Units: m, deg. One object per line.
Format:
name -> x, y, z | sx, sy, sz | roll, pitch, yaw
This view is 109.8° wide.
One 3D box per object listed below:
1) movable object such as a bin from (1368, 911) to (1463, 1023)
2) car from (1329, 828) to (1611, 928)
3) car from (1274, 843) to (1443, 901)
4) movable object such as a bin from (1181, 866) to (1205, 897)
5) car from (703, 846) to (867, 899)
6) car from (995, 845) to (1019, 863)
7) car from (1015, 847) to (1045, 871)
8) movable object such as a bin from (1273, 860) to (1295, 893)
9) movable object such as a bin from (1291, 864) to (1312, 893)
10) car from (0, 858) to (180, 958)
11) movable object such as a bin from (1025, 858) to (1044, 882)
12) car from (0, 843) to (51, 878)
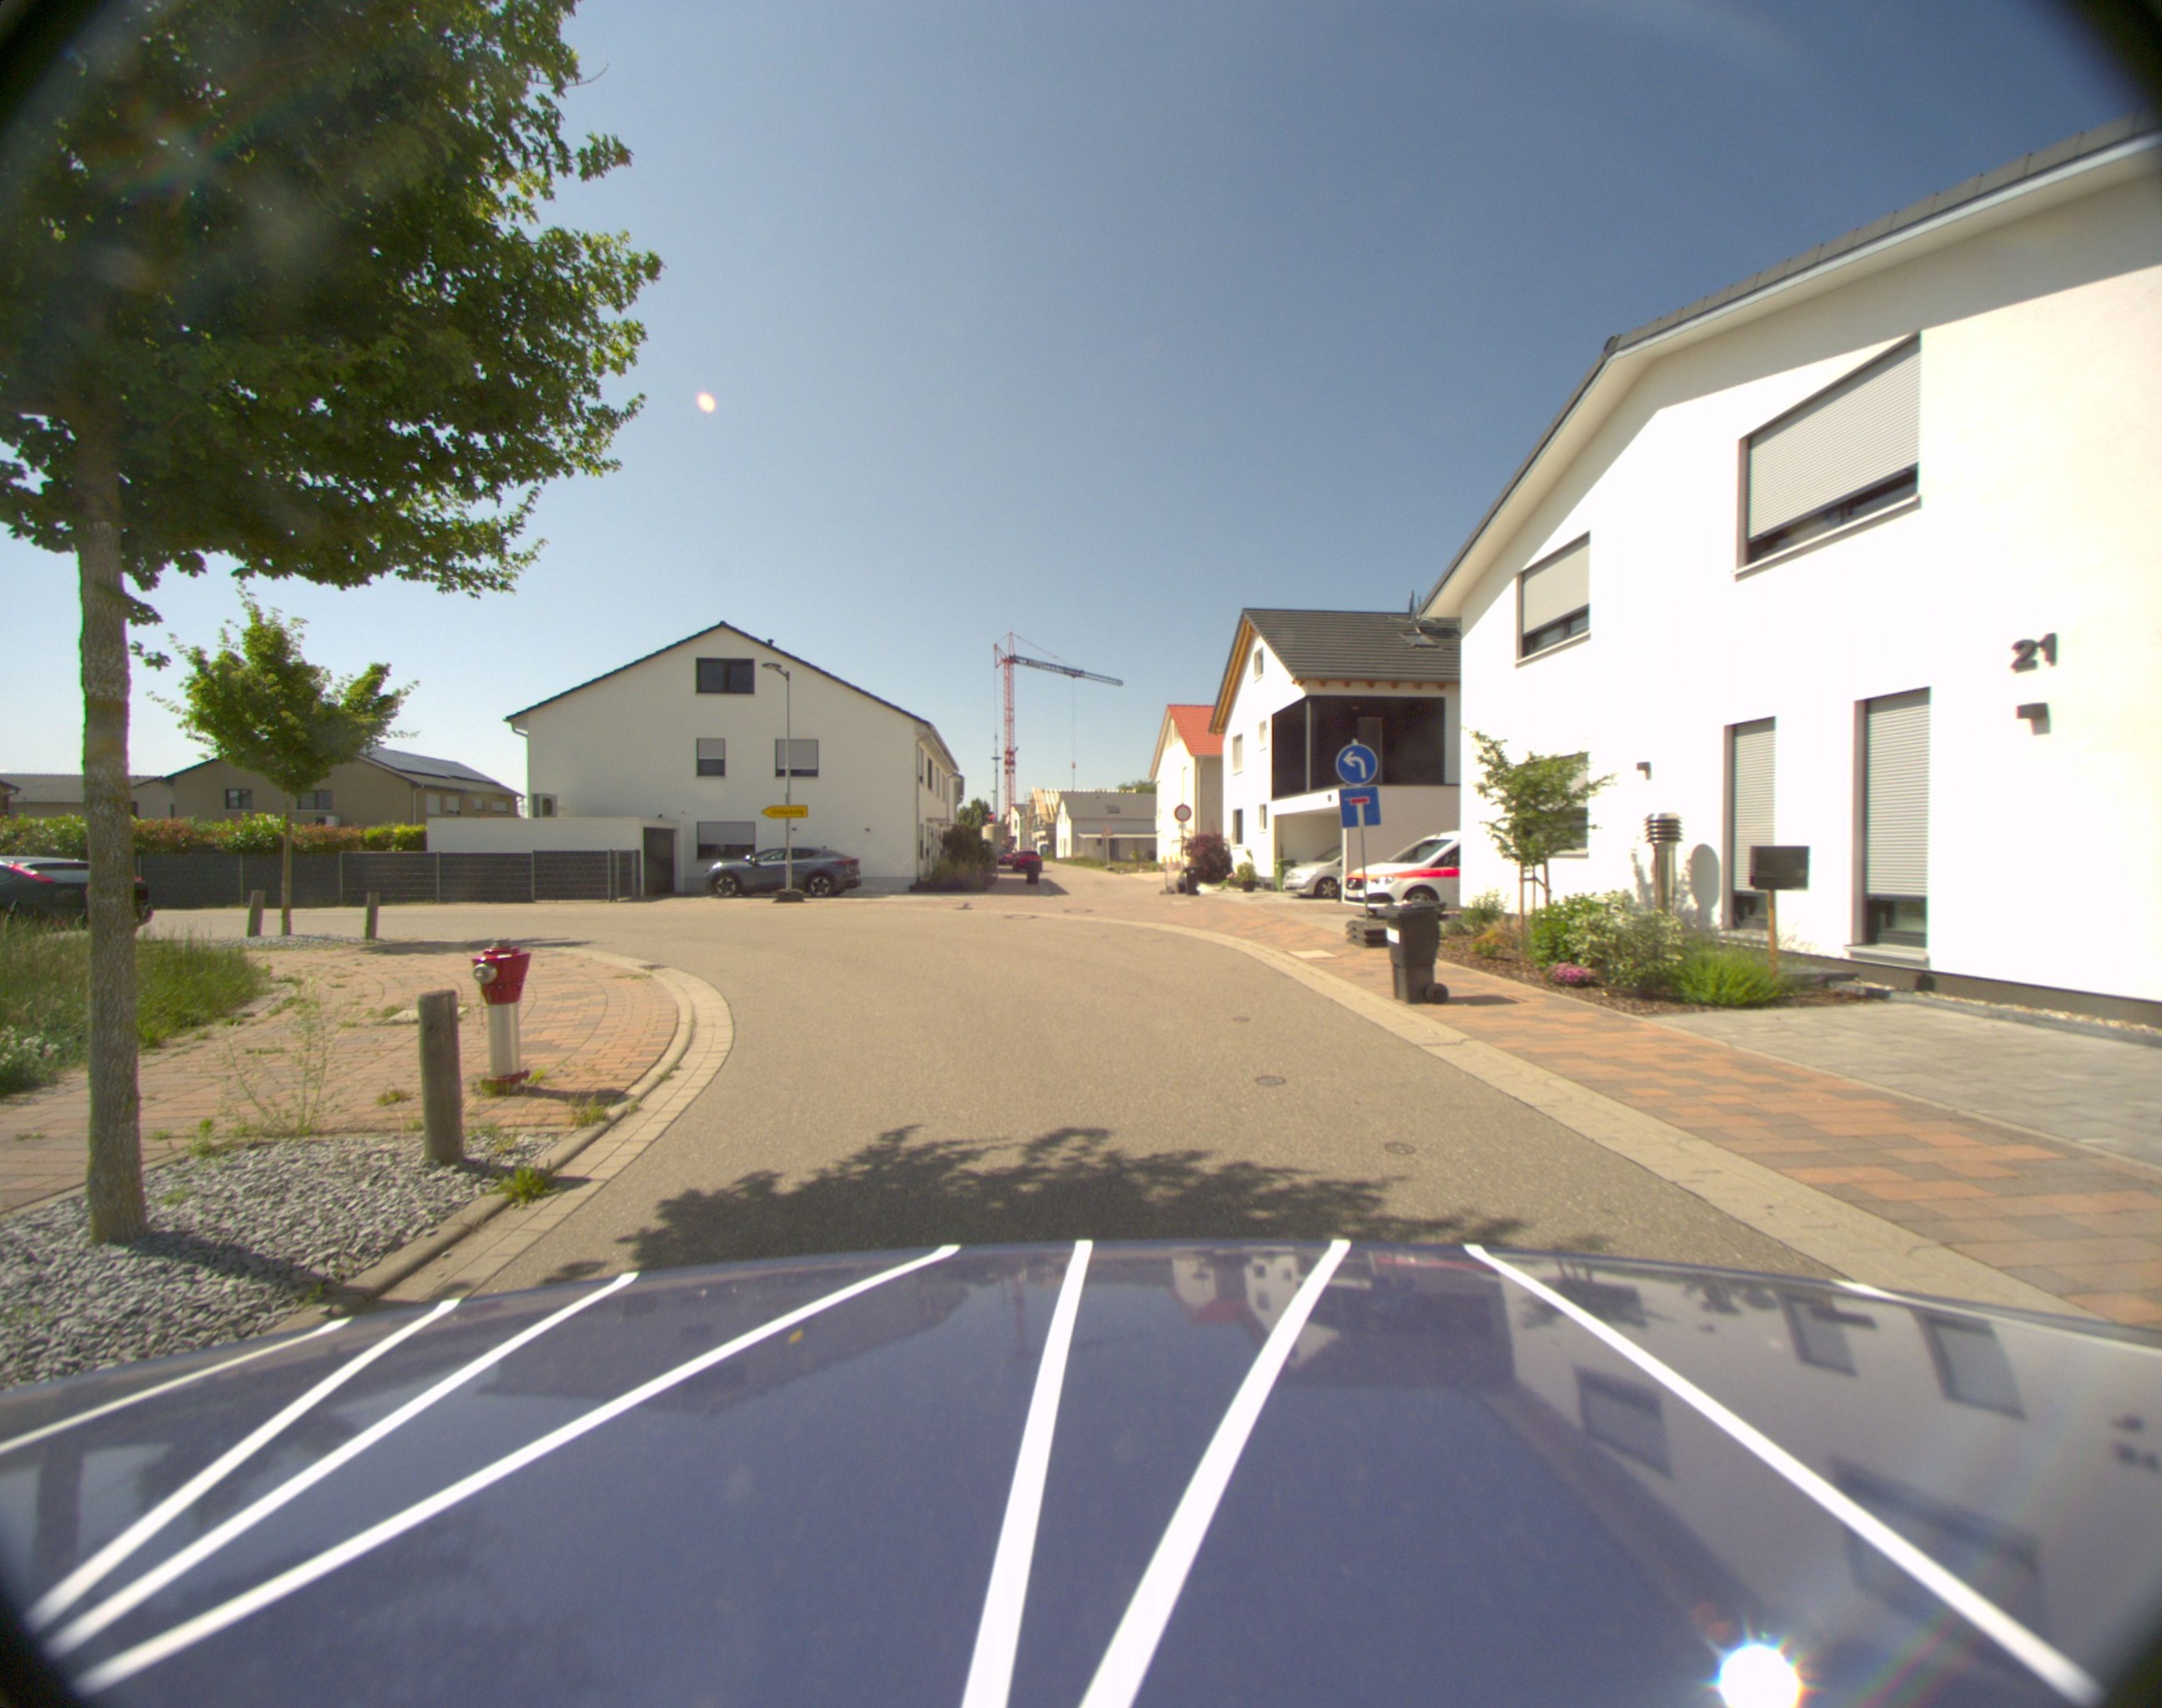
movable object such as a bin -> 3.072, 1.024, 7.007 | 0.625, 0.943, 0.499 | -1, 2, -6
car -> 7.698, 0.440, 15.328 | 4.750, 1.864, 1.937 | 0, 1, -4
car -> 7.817, 0.490, 21.608 | 4.165, 1.553, 1.744 | 0, 1, -7
movable object such as a bin -> 3.512, 0.858, 23.878 | 0.618, 0.931, 0.564 | -1, 0, -6
car -> -9.067, 0.559, 23.604 | 4.349, 1.549, 1.959 | 0, 0, -4
car -> -6.908, -0.046, 70.779 | 1.804, 1.609, 3.671 | -1, 2, -12
car -> -3.485, 0.294, 51.430 | 1.912, 1.471, 3.996 | 0, 2, -6
movable object such as a bin -> 6.583, 0.727, 24.713 | 0.500, 1.085, 0.601 | -1, 0, -6
movable object such as a bin -> 7.206, 0.794, 24.831 | 0.500, 0.900, 0.561 | -1, 2, -6
car -> -18.408, 0.879, 12.622 | 4.194, 1.485, 1.847 | -1, 2, -8
movable object such as a bin -> -2.080, 0.709, 33.839 | 0.824, 1.058, 0.589 | -1, 2, -6
car -> -61.539, 0.360, 42.753 | 2.000, 2.002, 3.996 | 0, 1, -10
